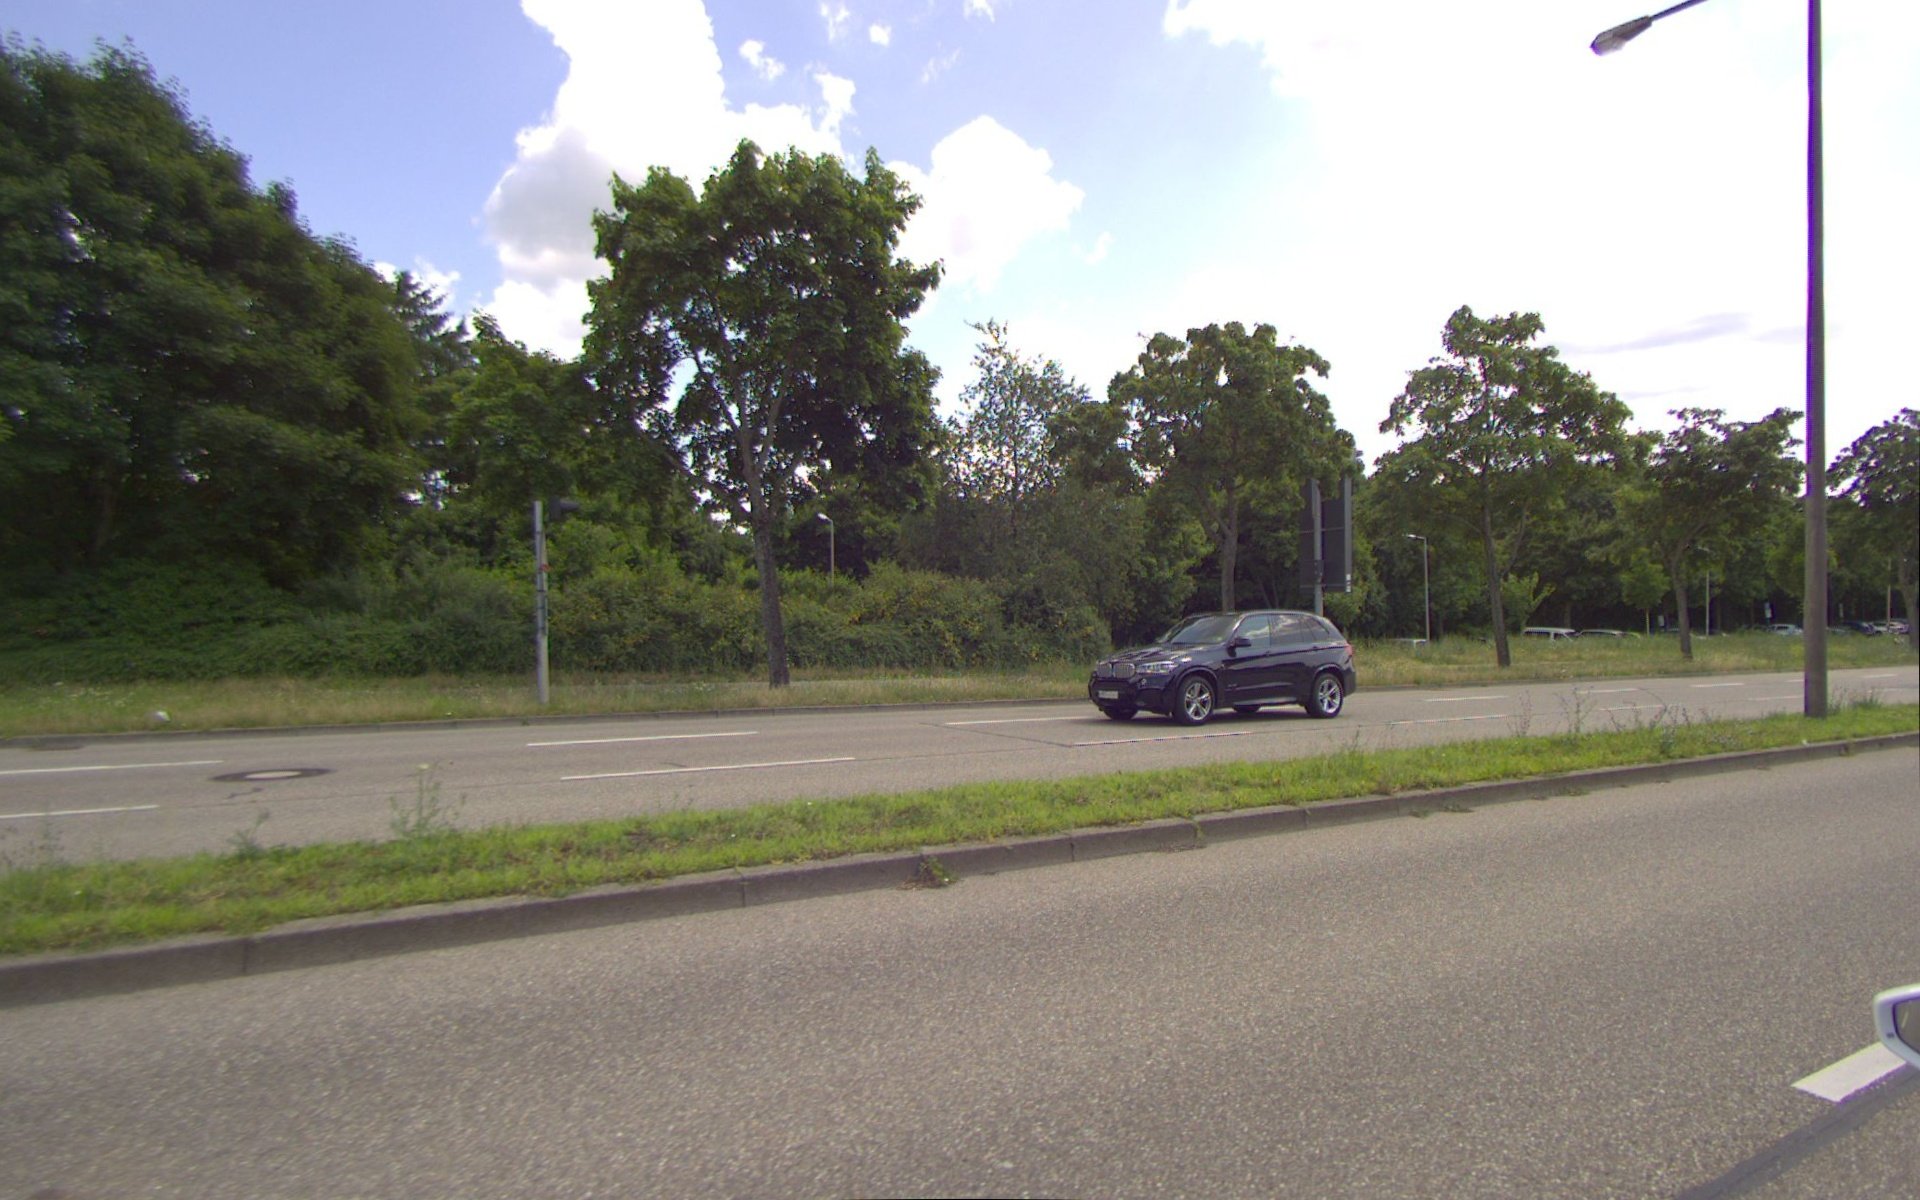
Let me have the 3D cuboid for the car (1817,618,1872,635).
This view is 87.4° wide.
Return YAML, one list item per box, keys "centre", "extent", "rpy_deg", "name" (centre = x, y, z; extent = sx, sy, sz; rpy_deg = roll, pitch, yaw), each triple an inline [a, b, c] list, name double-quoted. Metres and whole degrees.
- centre: [89.430, 2.651, 101.609]
  extent: [1.763, 1.589, 3.769]
  rpy_deg: [0, 1, -28]
  name: "car"

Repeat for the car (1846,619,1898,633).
- centre: [96.923, 2.750, 106.776]
  extent: [1.763, 1.406, 3.769]
  rpy_deg: [0, 1, -28]
  name: "car"

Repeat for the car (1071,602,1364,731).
- centre: [4.213, 1.024, 16.206]
  extent: [4.675, 1.813, 1.867]
  rpy_deg: [1, -3, -32]
  name: "car"

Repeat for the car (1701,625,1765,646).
- centre: [62.960, 2.876, 81.818]
  extent: [1.764, 1.528, 3.766]
  rpy_deg: [0, 1, -30]
  name: "car"

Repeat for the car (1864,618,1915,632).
- centre: [101.966, 2.721, 110.264]
  extent: [1.763, 1.406, 3.769]
  rpy_deg: [0, 1, -28]
  name: "car"

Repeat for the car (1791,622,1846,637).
- centre: [83.228, 2.872, 97.417]
  extent: [1.766, 1.264, 3.764]
  rpy_deg: [0, 1, -32]
  name: "car"

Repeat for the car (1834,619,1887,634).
- centre: [94.042, 2.711, 104.957]
  extent: [1.763, 1.406, 3.769]
  rpy_deg: [0, 1, -28]
  name: "car"

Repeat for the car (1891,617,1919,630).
- centre: [109.377, 2.689, 114.964]
  extent: [1.763, 1.406, 3.769]
  rpy_deg: [0, 1, -28]
  name: "car"

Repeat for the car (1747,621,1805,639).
- centre: [74.671, 2.738, 91.901]
  extent: [1.766, 1.447, 3.764]
  rpy_deg: [0, 1, -32]
  name: "car"

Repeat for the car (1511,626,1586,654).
- centre: [40.327, 2.716, 68.893]
  extent: [1.979, 1.647, 3.962]
  rpy_deg: [0, 1, -34]
  name: "car"
